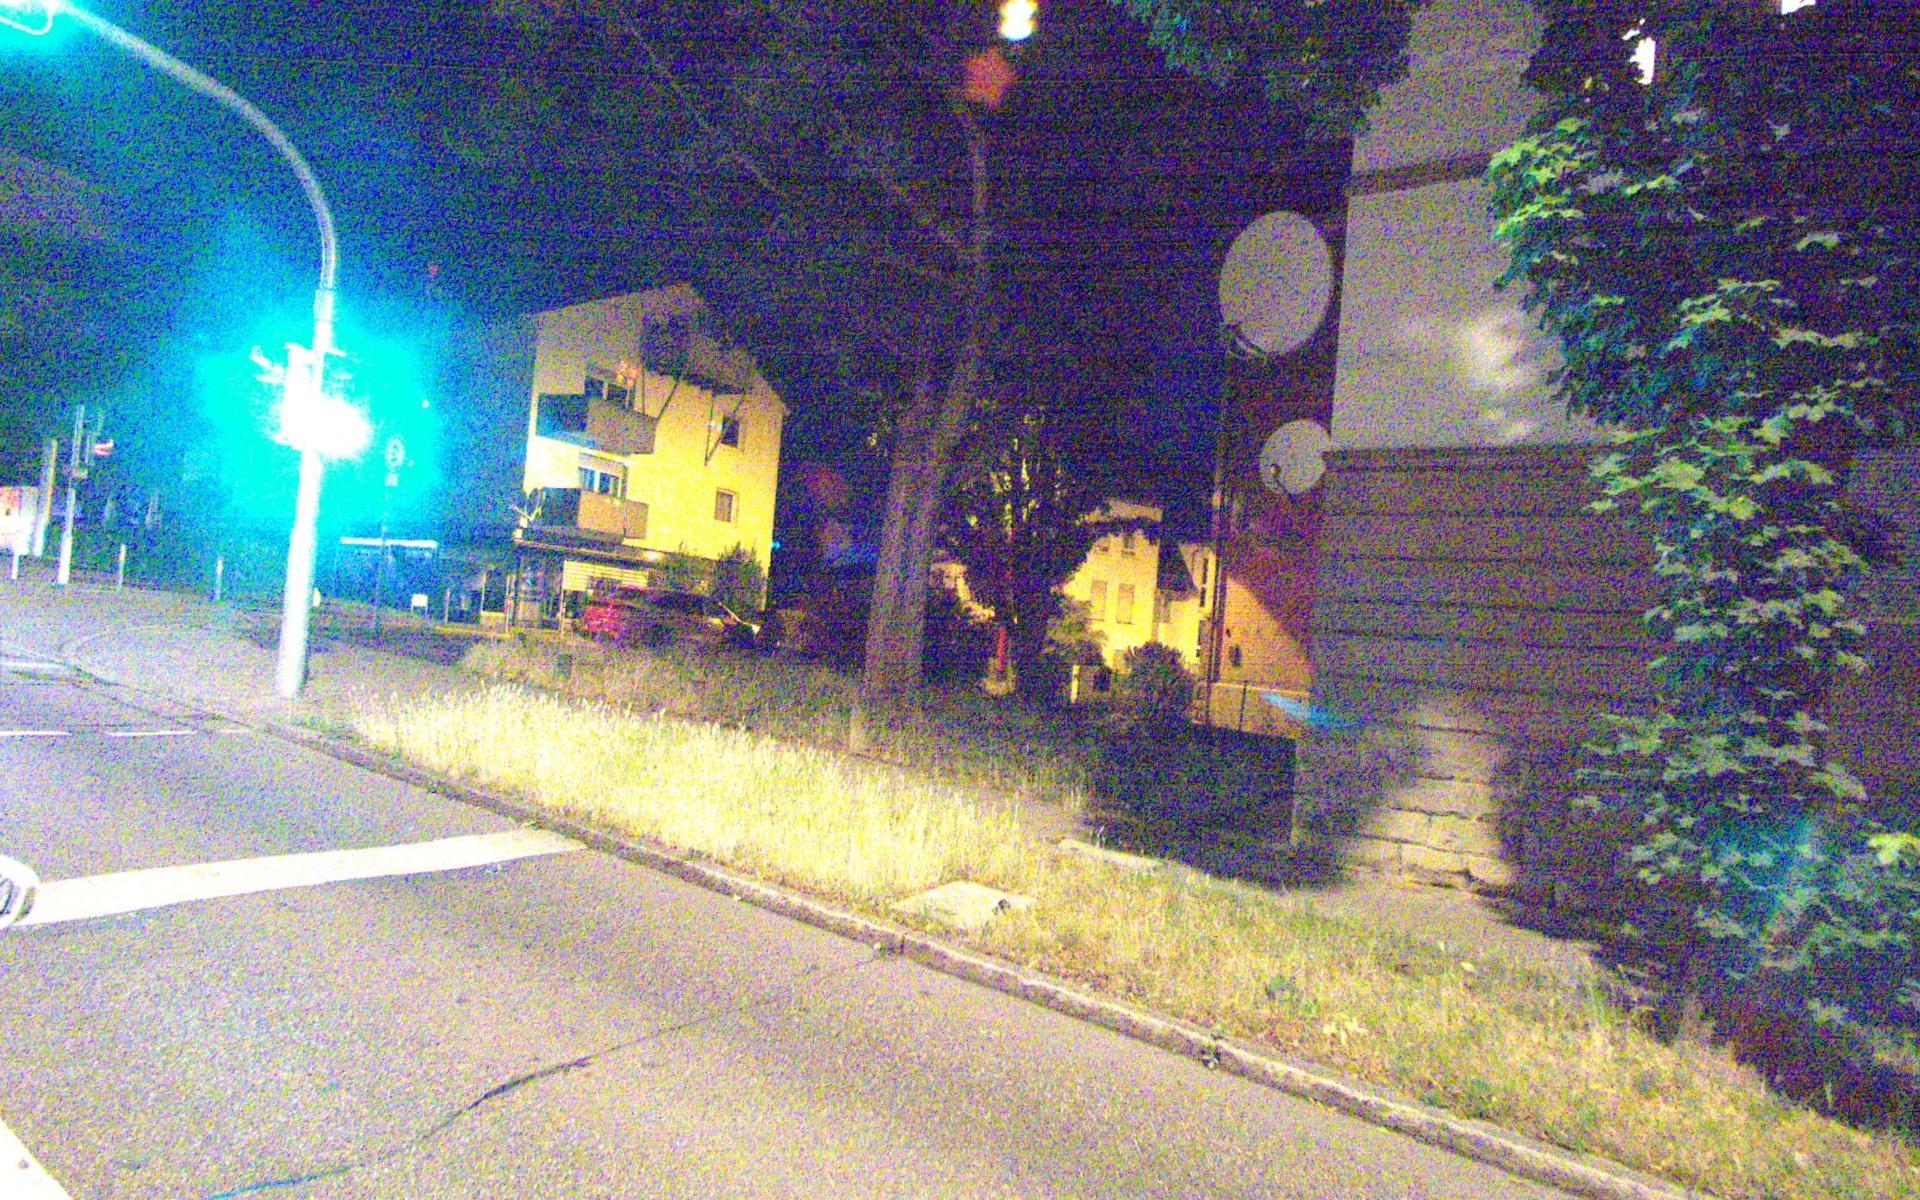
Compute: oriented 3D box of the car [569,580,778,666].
[{"bbox_3d":[-6.512,0.578,23.303,1.778,1.577,4.366,3,-3,38],"label":"car"}]
